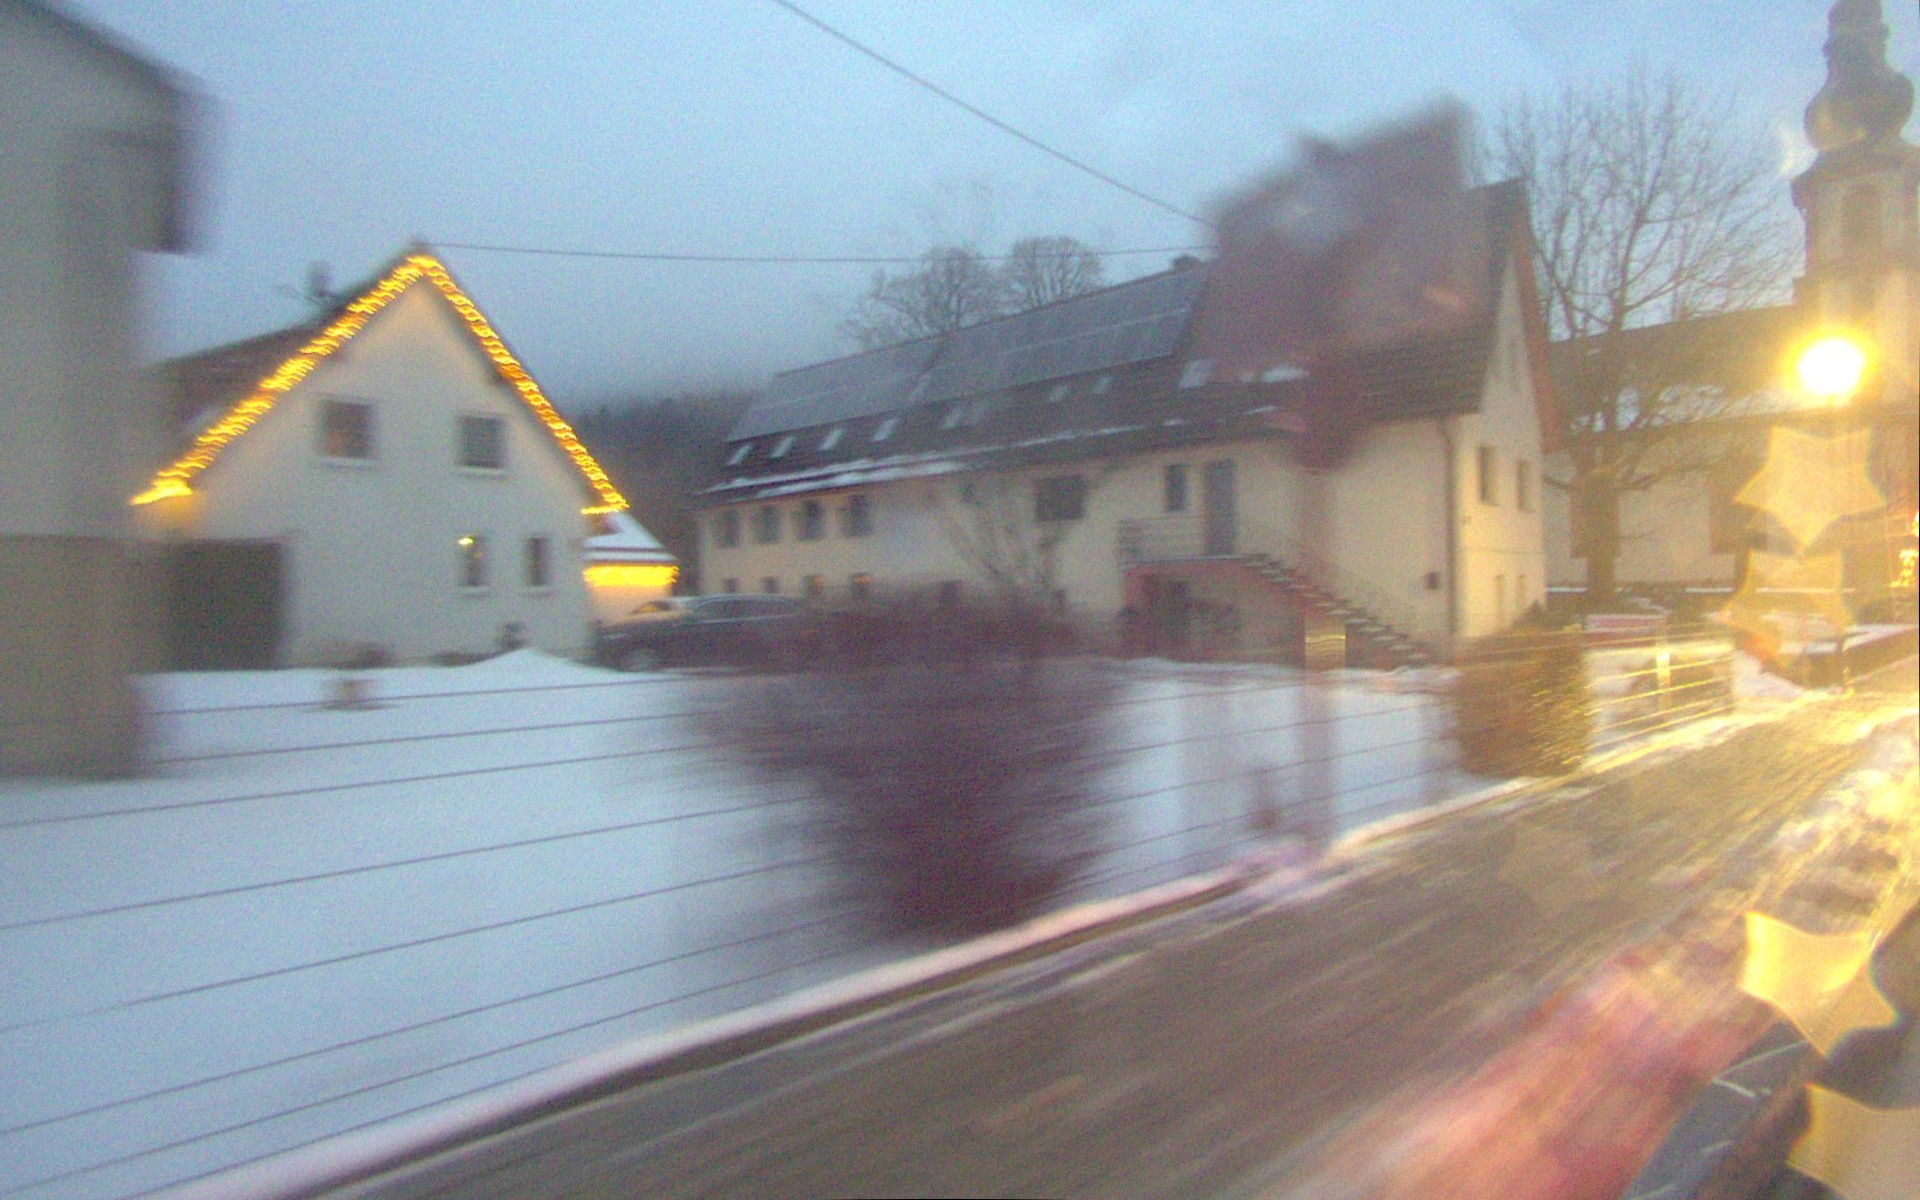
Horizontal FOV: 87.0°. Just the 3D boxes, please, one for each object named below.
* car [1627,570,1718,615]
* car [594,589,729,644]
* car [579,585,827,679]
[{"bbox_3d":[25.857,-0.328,36.848,1.735,1.429,4.055,0,3,21],"label":"car"},{"bbox_3d":[-8.976,0.451,30.297,4.074,1.520,2.022,0,1,41],"label":"car"},{"bbox_3d":[-5.181,0.545,20.383,4.434,1.629,2.331,-1,1,-27],"label":"car"}]
